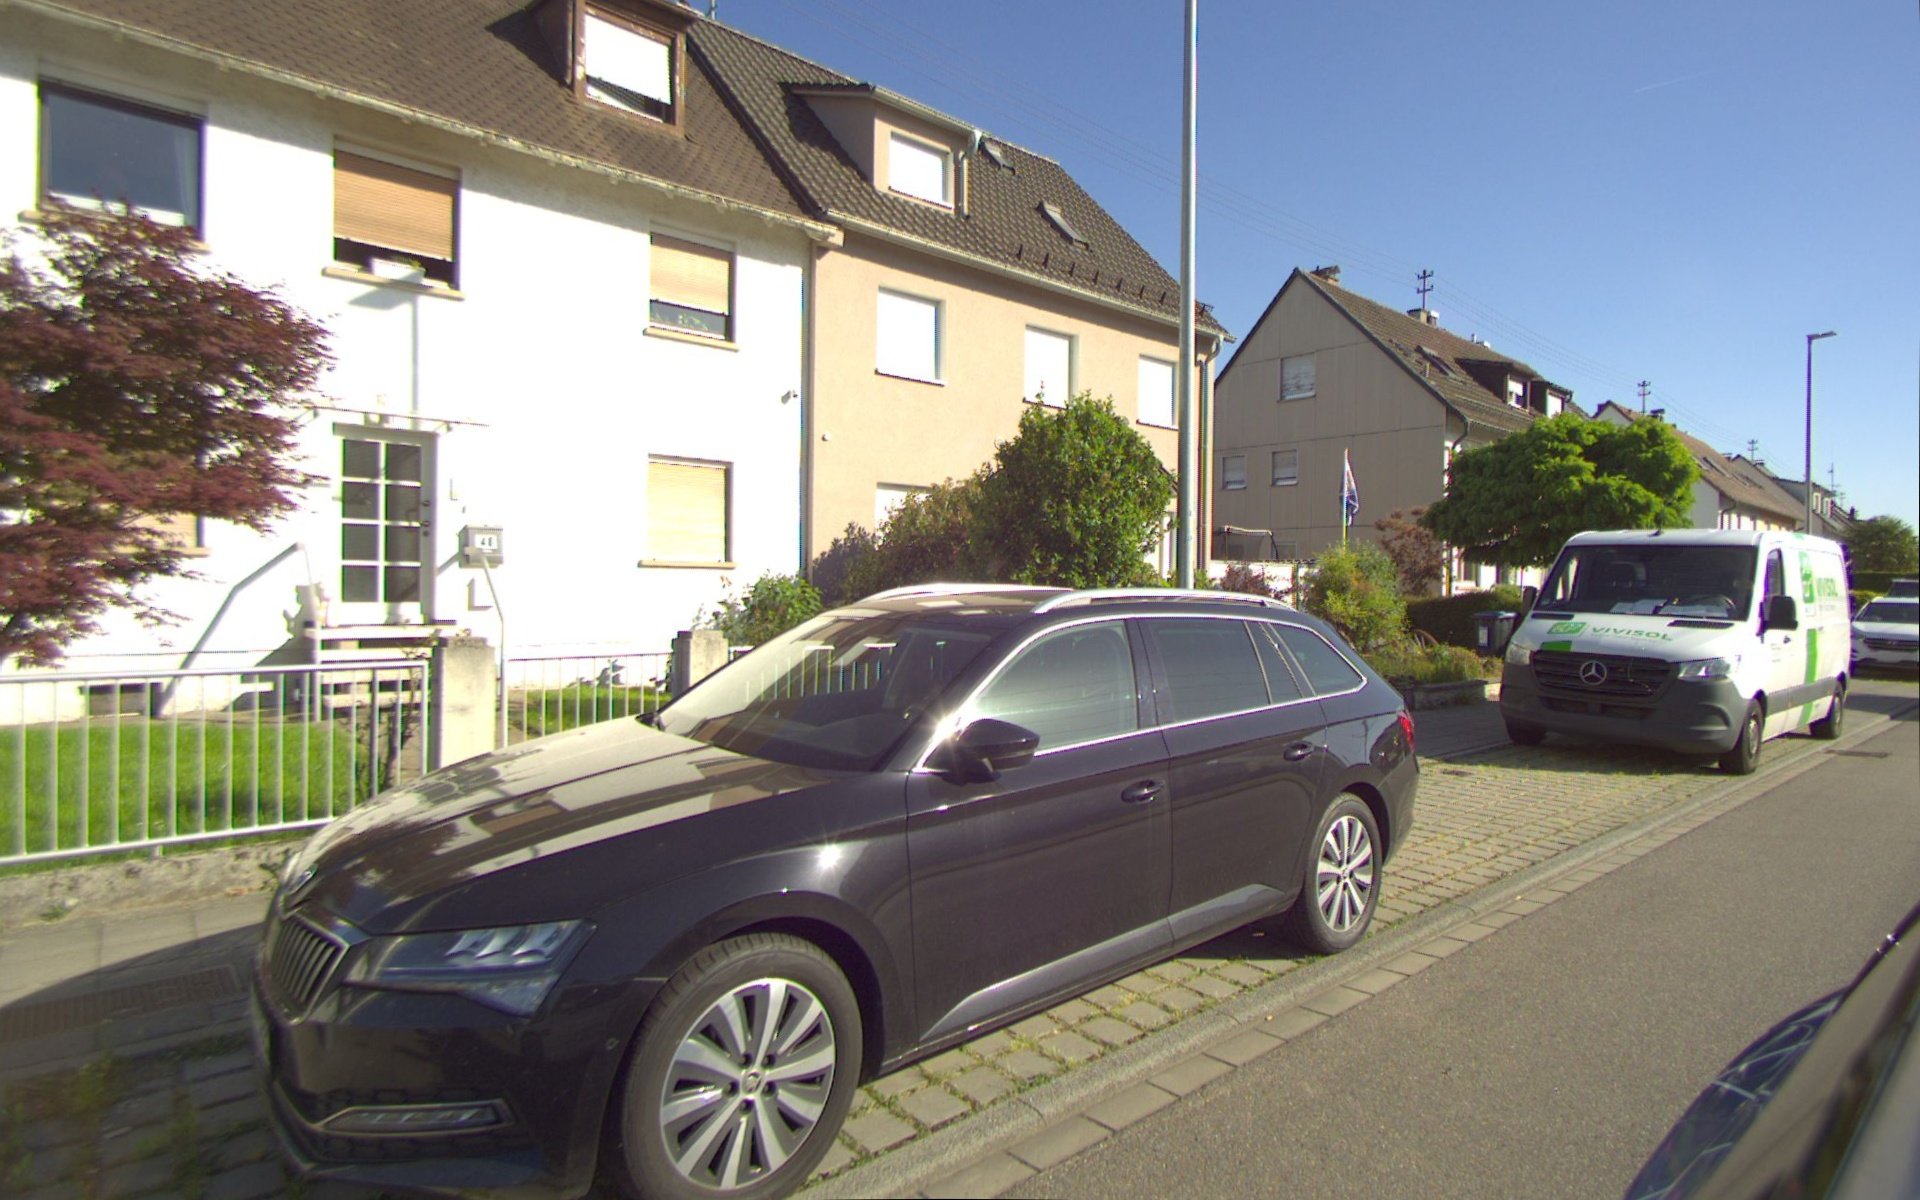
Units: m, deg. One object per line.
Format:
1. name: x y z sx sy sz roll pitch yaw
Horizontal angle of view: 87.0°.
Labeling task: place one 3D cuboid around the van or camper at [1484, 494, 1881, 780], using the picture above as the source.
1. van or camper: 8.015 0.227 10.886 6.194 2.298 1.998 -1 3 -41

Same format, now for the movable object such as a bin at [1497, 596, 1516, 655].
1. movable object such as a bin: 10.427 0.473 19.308 0.276 1.109 0.328 0 1 20

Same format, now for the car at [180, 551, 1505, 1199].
1. car: 0.167 0.631 3.981 5.065 1.512 1.752 -1 3 -41

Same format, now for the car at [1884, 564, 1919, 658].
1. car: 24.577 0.265 24.984 5.242 2.170 1.963 0 2 -41

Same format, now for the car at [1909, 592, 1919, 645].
1. car: 29.556 0.571 29.629 5.513 1.461 1.857 0 3 -40

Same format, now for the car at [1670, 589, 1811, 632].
1. car: 32.609 0.386 42.339 2.160 1.676 4.418 0 1 -43

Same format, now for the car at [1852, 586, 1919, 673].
1. car: 20.393 0.586 21.385 4.243 1.665 1.729 0 3 -41

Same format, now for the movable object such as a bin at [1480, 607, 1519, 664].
1. movable object such as a bin: 10.407 0.669 19.507 0.456 1.057 0.516 1 1 -41
